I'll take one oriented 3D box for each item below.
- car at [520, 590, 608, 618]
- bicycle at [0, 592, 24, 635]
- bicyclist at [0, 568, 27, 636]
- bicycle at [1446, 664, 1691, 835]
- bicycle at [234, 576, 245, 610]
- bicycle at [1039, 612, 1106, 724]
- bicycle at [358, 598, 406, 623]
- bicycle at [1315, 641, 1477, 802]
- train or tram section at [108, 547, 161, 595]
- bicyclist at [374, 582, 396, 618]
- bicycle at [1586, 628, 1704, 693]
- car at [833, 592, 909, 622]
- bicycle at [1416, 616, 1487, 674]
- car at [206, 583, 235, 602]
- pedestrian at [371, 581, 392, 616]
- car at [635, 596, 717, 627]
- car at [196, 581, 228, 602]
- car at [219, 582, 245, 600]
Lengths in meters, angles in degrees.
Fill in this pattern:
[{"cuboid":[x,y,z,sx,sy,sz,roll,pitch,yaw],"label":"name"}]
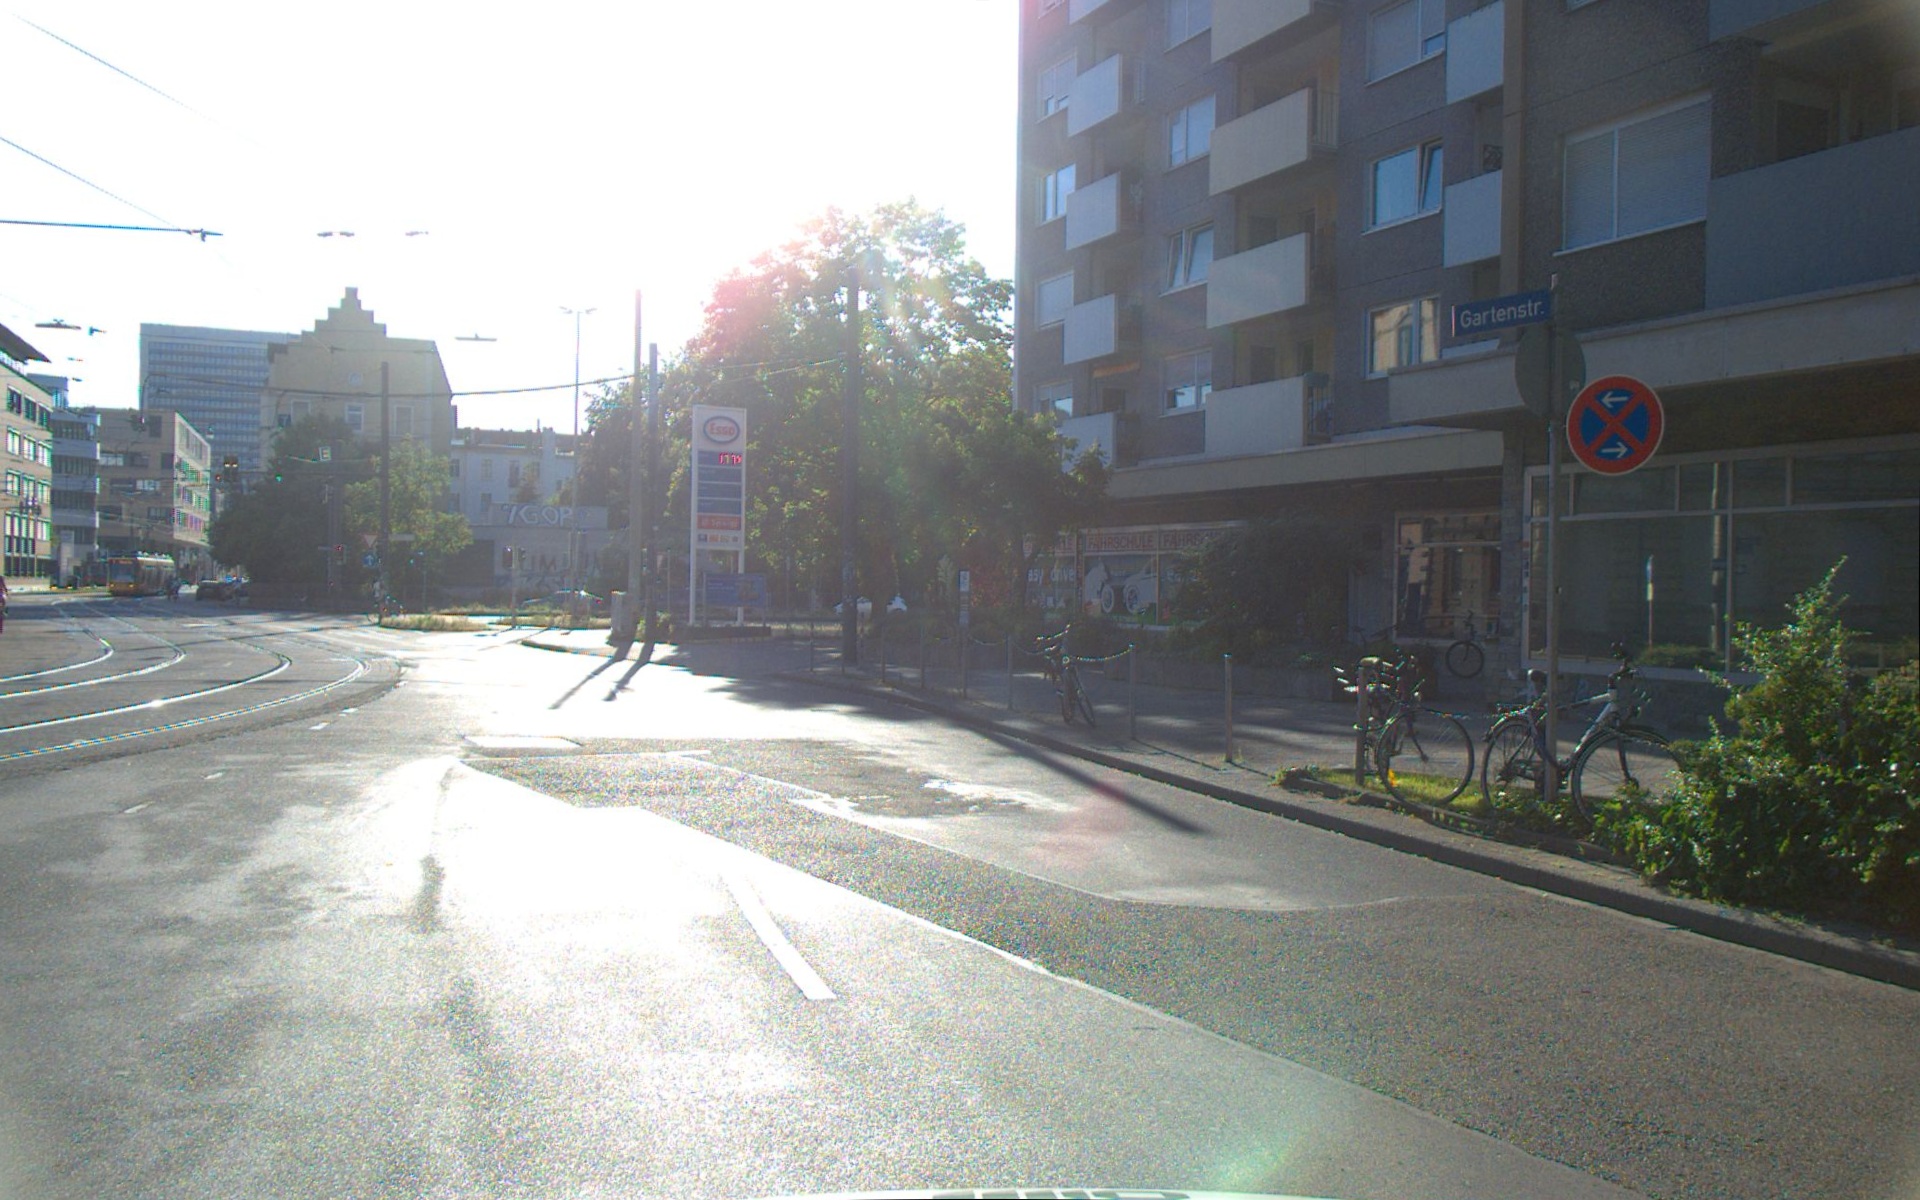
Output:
[{"cuboid":[-21.505,0.210,90.026,4.386,1.513,1.779,0,0,-3],"label":"car"},{"cuboid":[-27.065,0.375,46.916,0.873,1.176,2.301,1,0,-30],"label":"bicycle"},{"cuboid":[-27.219,0.062,47.172,1.018,1.924,1.102,1,-1,-30],"label":"bicyclist"},{"cuboid":[3.825,0.905,10.544,0.534,0.920,1.727,0,0,-17],"label":"bicycle"},{"cuboid":[-39.373,-0.384,90.393,0.558,1.838,1.349,0,0,-23],"label":"bicycle"},{"cuboid":[1.327,0.781,19.804,0.625,1.247,2.088,0,0,-1],"label":"bicycle"},{"cuboid":[-23.776,0.419,68.037,1.810,1.002,0.728,0,0,-25],"label":"bicycle"},{"cuboid":[3.187,0.852,12.290,0.625,1.040,2.088,0,0,-1],"label":"bicycle"},{"cuboid":[-66.789,-2.245,134.035,2.208,3.637,14.192,0,0,-20],"label":"train or tram section"},{"cuboid":[-23.673,0.000,68.113,0.793,1.438,0.619,1,-1,-25],"label":"bicyclist"},{"cuboid":[10.254,0.890,24.803,0.634,0.914,1.638,0,0,-25],"label":"bicycle"},{"cuboid":[-4.777,0.389,88.528,3.912,1.534,1.670,1,0,-8],"label":"car"},{"cuboid":[8.555,0.774,28.814,0.426,0.959,1.314,0,0,-25],"label":"bicycle"},{"cuboid":[-59.273,-0.584,132.598,1.965,1.512,3.974,0,0,-22],"label":"car"},{"cuboid":[-28.333,-0.076,80.976,0.913,1.721,0.772,1,0,-22],"label":"pedestrian"},{"cuboid":[-14.164,0.556,82.563,3.911,1.478,1.807,1,0,-7],"label":"car"},{"cuboid":[-55.463,-0.625,122.734,1.965,1.489,3.974,0,0,-22],"label":"car"},{"cuboid":[-64.615,-0.805,146.878,1.965,1.512,3.974,0,0,-22],"label":"car"}]
